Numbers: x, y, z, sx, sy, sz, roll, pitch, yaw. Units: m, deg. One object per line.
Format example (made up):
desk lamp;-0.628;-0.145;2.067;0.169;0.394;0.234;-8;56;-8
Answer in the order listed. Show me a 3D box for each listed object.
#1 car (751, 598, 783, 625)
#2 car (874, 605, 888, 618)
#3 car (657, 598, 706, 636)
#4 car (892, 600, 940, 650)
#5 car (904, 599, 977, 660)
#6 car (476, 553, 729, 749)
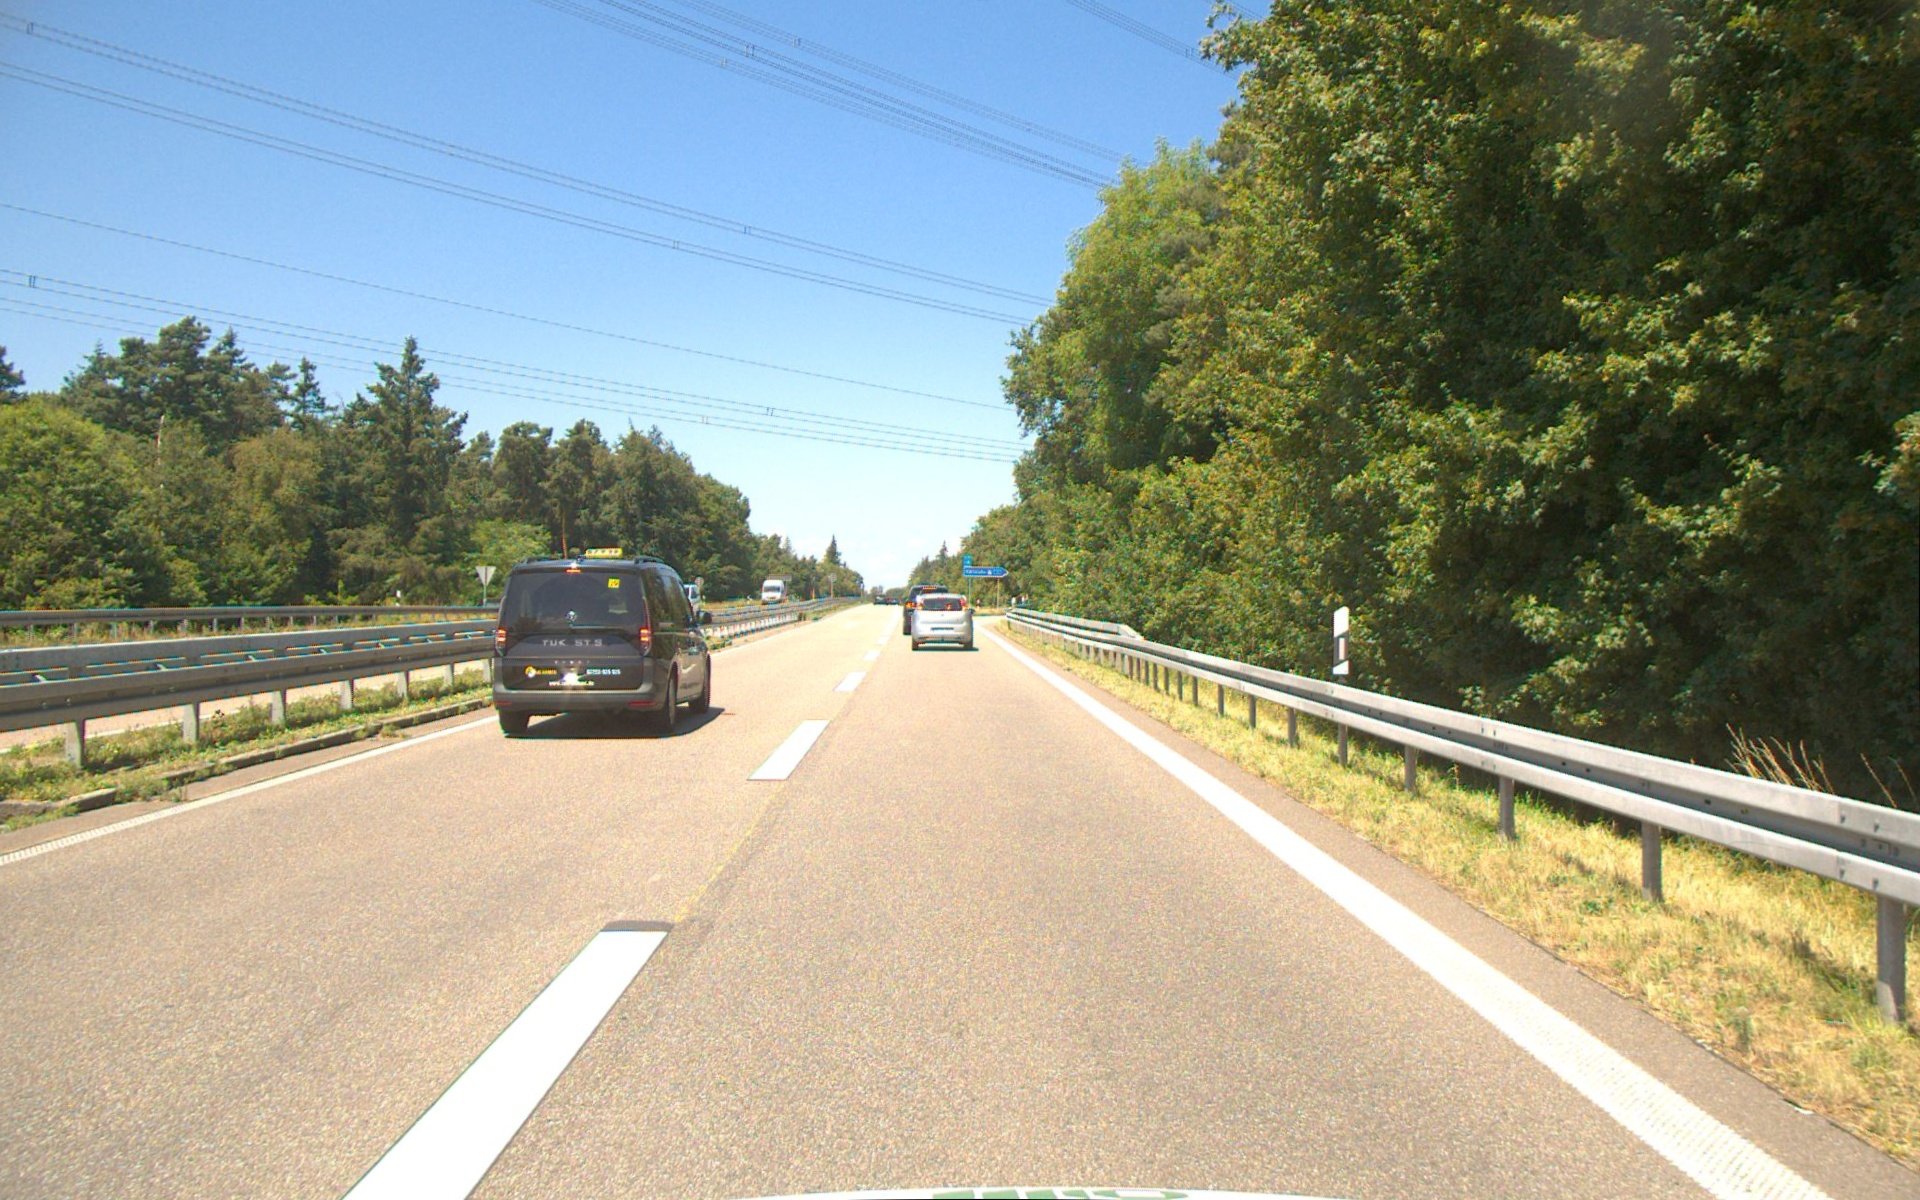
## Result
car;-19.360;1.153;166.207;2.473;2.664;7.184;-1;0;-1
car;-10.359;1.491;215.990;1.678;1.497;3.572;3;-1;-2
car;-15.670;0.949;93.382;1.852;2.027;5.532;0;0;0
car;-1.596;0.876;59.658;1.607;1.682;3.572;3;-1;-2
car;-0.554;0.768;44.470;1.609;1.493;3.415;3;-1;-6
car;-3.900;0.520;19.037;1.817;1.920;5.571;0;-1;-1
